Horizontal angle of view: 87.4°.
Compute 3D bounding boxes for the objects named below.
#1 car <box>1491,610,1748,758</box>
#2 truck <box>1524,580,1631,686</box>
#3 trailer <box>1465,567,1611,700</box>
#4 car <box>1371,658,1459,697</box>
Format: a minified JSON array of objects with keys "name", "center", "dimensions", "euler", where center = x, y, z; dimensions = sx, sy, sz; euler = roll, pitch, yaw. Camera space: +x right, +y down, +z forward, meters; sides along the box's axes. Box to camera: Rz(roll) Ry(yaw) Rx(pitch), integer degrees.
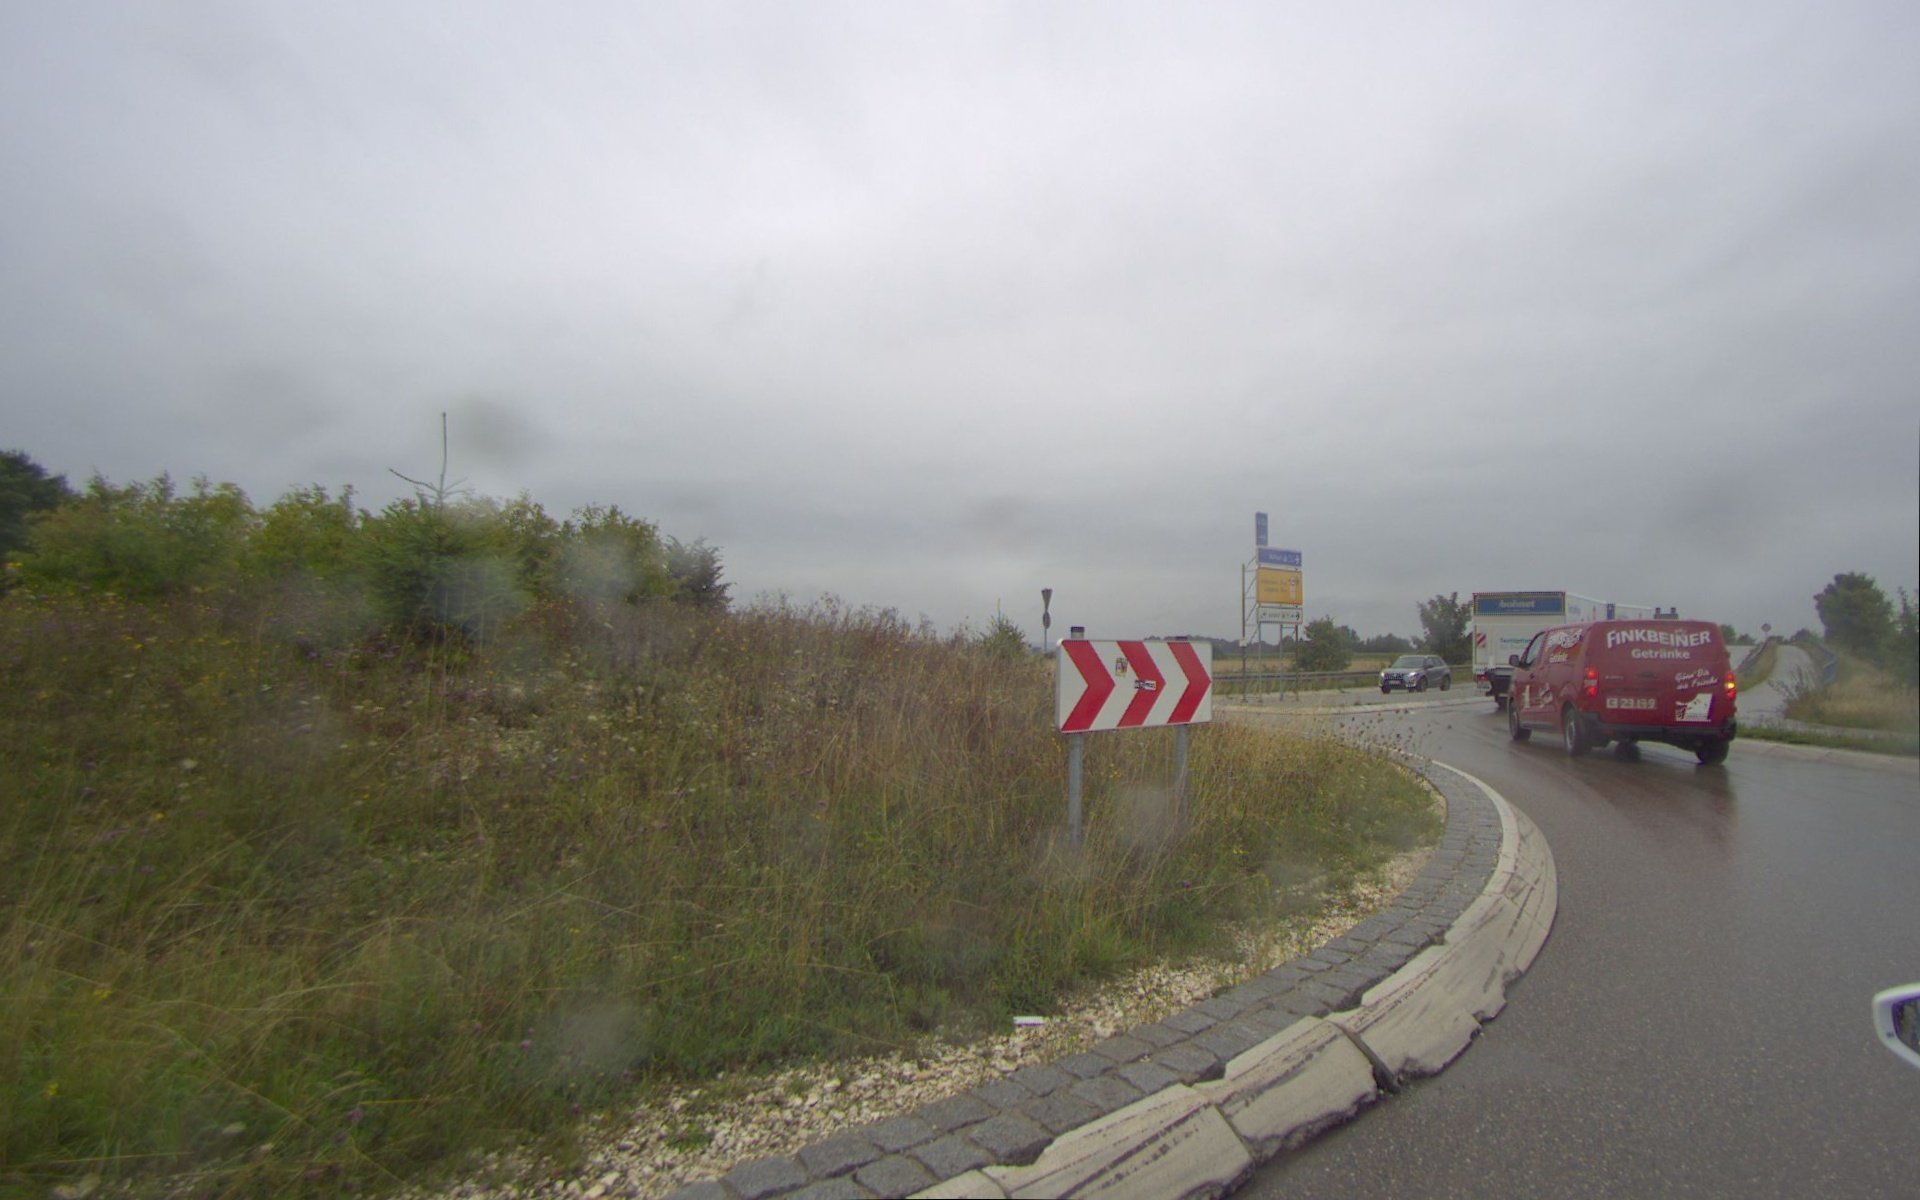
[{"name":"car","center":[9.860,1.195,15.539],"dimensions":[1.960,1.895,4.981],"euler":[-2,-2,17]},{"name":"truck","center":[25.085,1.361,40.650],"dimensions":[2.765,3.869,7.658],"euler":[-2,-3,38]},{"name":"trailer","center":[19.697,1.169,33.860],"dimensions":[2.798,3.869,9.674],"euler":[-2,-3,38]},{"name":"car","center":[19.736,3.341,43.519],"dimensions":[3.963,1.595,1.788],"euler":[3,-3,-37]}]
